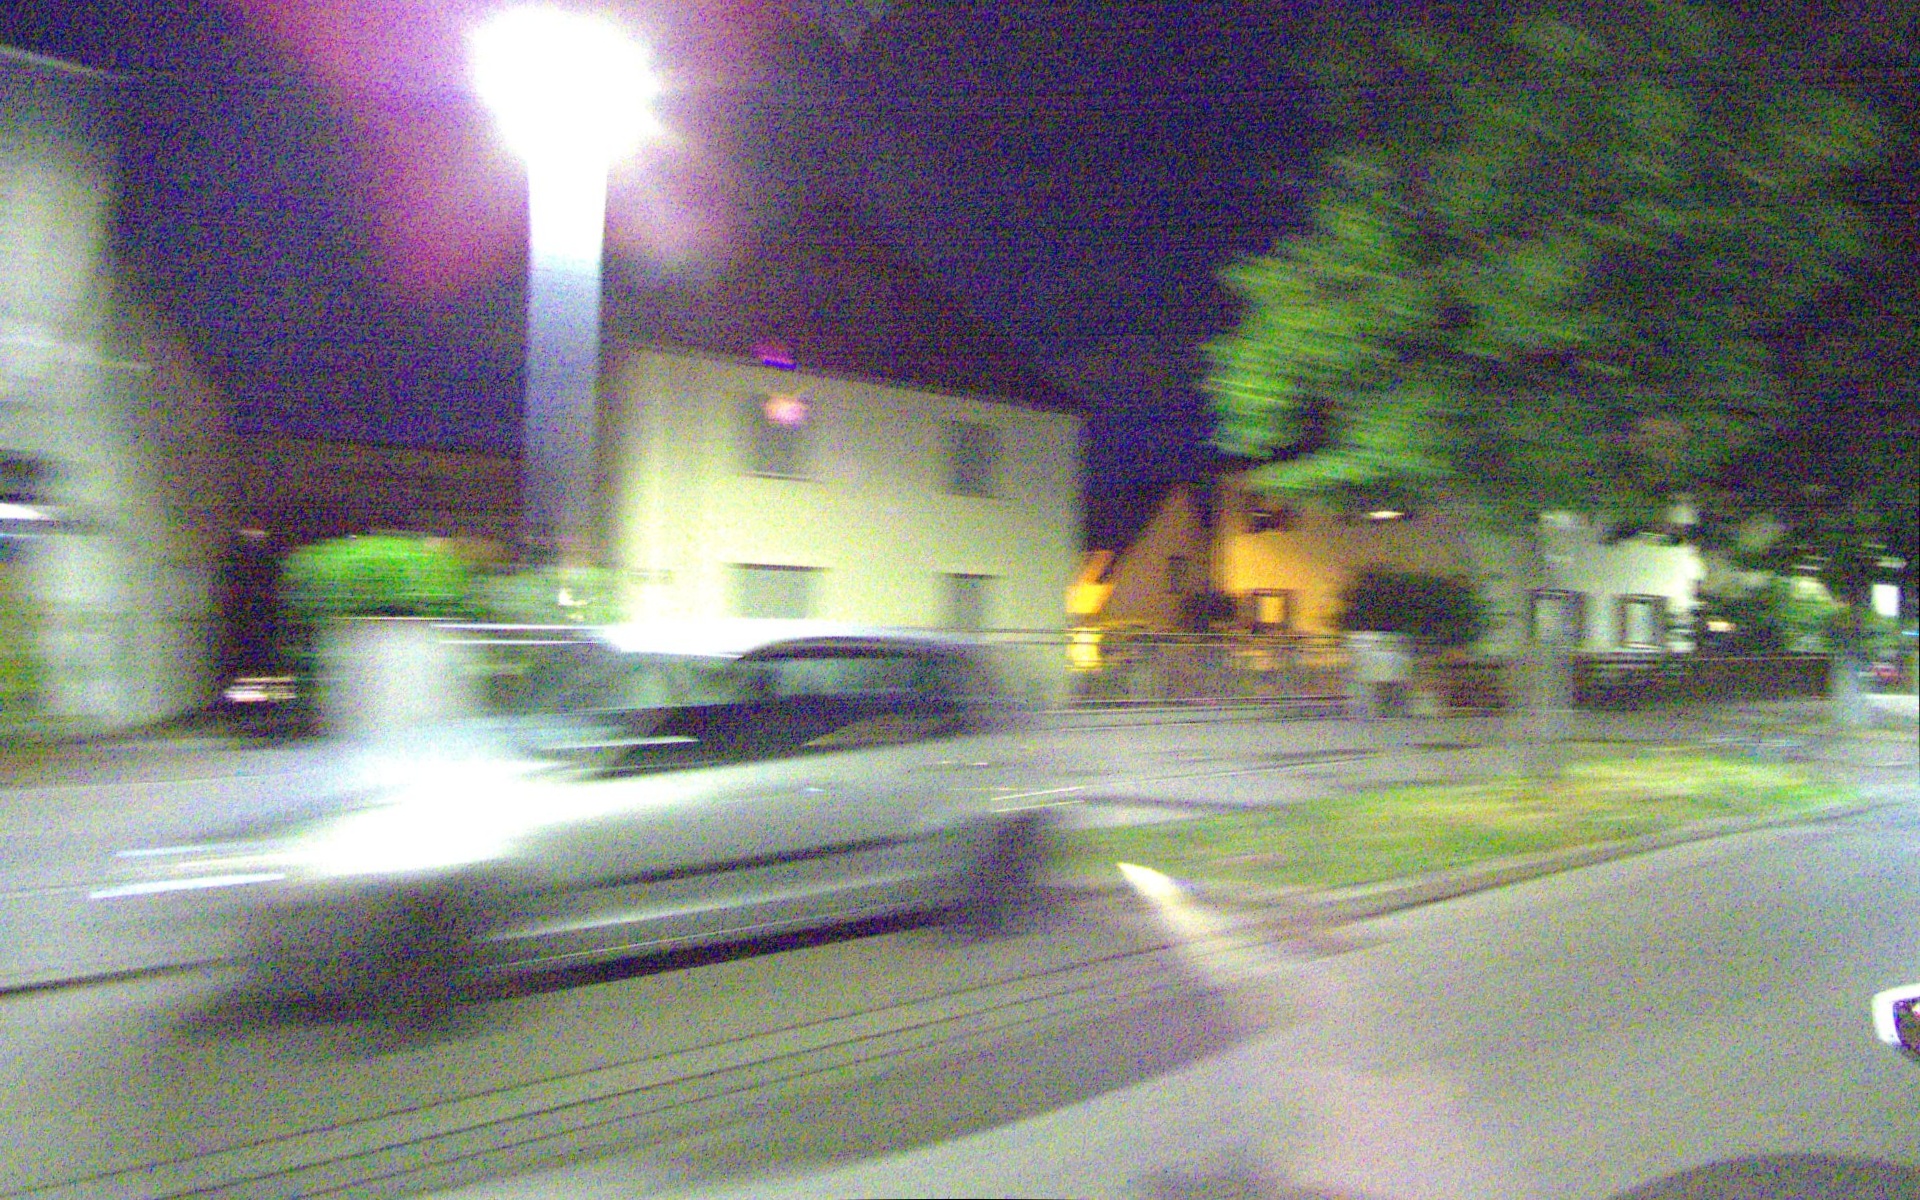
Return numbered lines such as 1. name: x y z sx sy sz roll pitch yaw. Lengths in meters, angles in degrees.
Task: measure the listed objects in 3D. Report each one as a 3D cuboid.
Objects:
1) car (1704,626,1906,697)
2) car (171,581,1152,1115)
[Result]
1. car: 21.563 1.525 25.821 1.752 1.648 3.717 1 -1 -12
2. car: -1.129 0.774 4.793 3.942 1.612 1.663 1 0 -32
